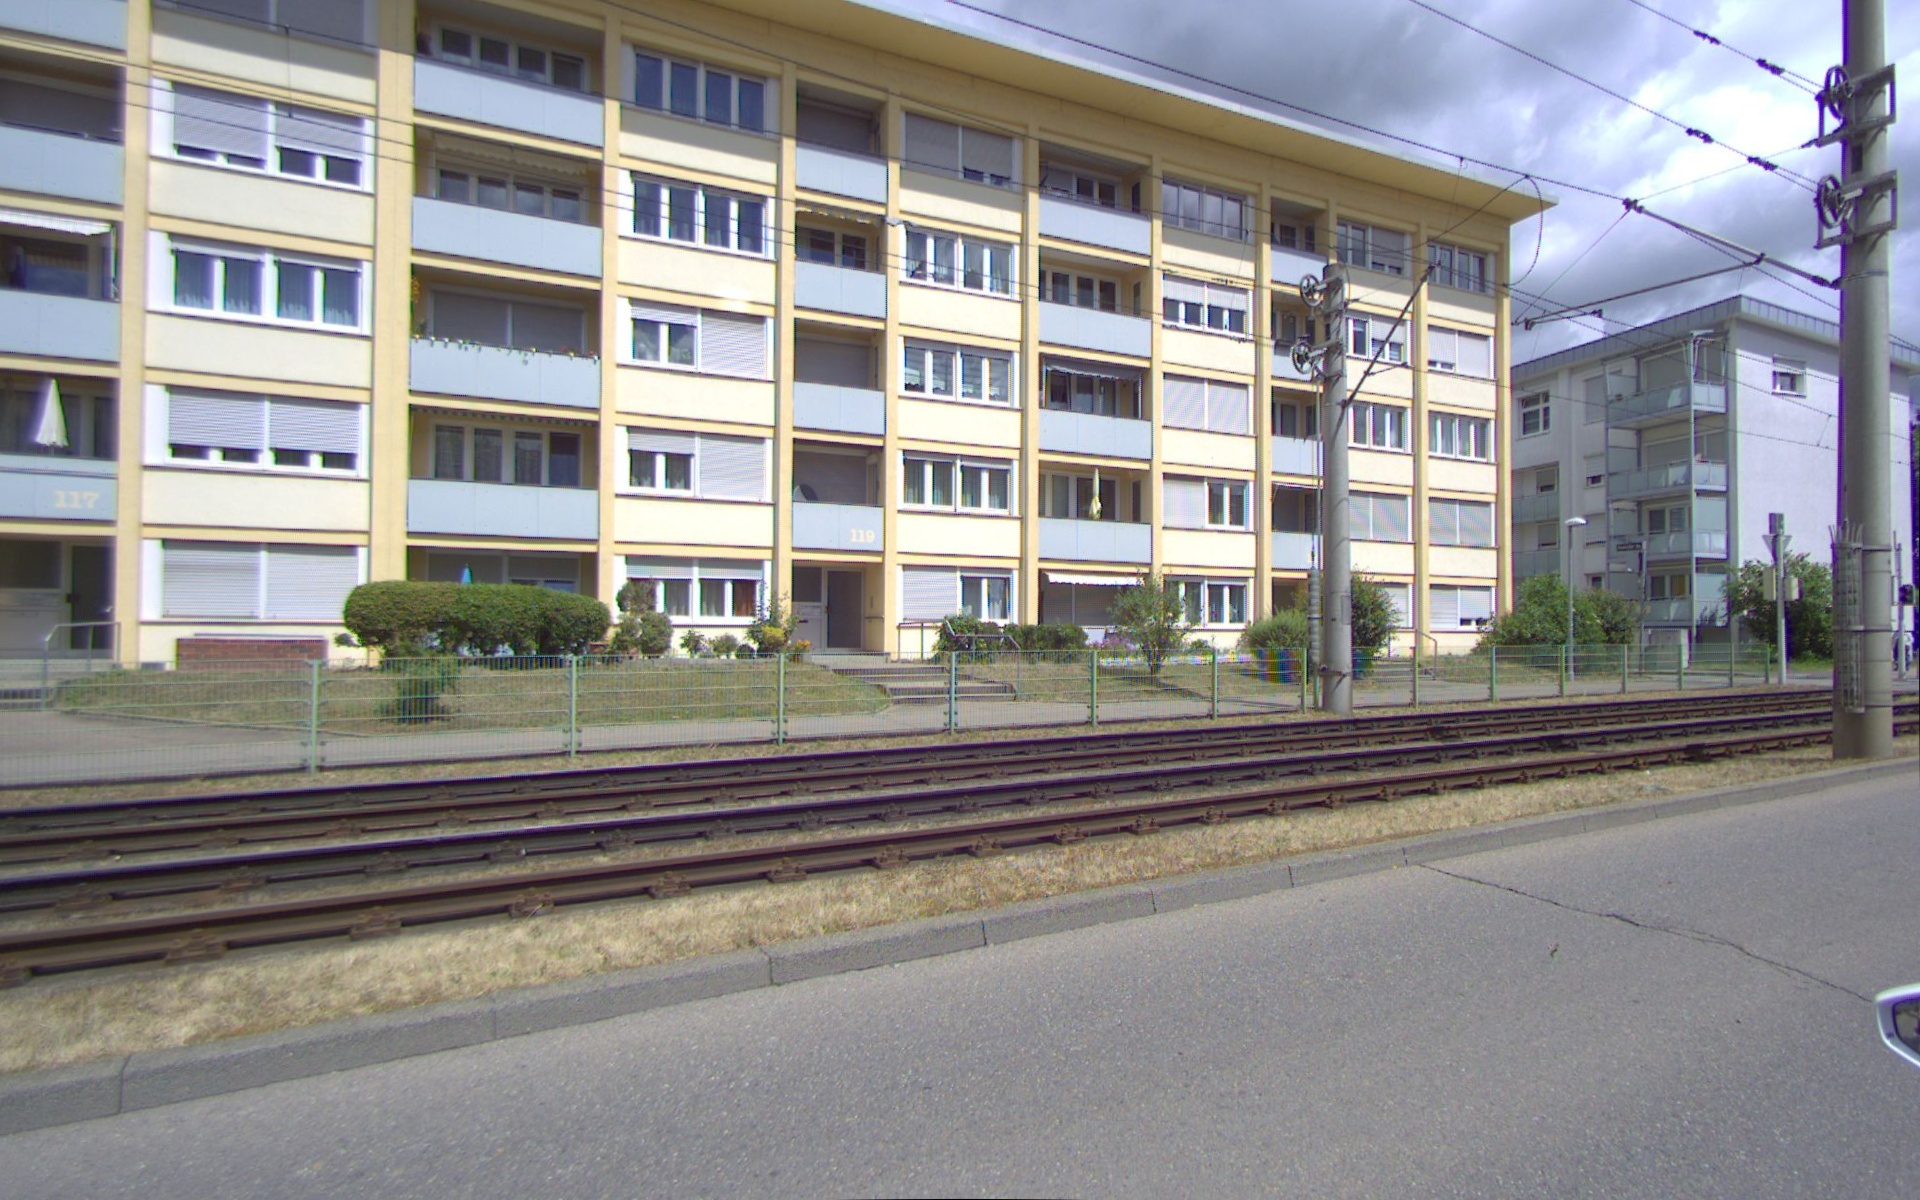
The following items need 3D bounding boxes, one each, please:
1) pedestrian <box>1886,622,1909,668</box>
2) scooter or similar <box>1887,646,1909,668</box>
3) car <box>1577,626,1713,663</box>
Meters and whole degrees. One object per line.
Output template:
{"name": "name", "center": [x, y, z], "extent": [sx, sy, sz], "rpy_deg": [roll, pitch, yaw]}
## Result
{"name": "pedestrian", "center": [32.992, 1.575, 35.334], "extent": [0.468, 1.601, 0.436], "rpy_deg": [1, -1, -25]}
{"name": "scooter or similar", "center": [32.641, 1.990, 34.953], "extent": [0.468, 0.757, 0.436], "rpy_deg": [1, -1, -25]}
{"name": "car", "center": [26.340, 1.682, 38.778], "extent": [1.873, 1.363, 3.980], "rpy_deg": [1, -1, -21]}
